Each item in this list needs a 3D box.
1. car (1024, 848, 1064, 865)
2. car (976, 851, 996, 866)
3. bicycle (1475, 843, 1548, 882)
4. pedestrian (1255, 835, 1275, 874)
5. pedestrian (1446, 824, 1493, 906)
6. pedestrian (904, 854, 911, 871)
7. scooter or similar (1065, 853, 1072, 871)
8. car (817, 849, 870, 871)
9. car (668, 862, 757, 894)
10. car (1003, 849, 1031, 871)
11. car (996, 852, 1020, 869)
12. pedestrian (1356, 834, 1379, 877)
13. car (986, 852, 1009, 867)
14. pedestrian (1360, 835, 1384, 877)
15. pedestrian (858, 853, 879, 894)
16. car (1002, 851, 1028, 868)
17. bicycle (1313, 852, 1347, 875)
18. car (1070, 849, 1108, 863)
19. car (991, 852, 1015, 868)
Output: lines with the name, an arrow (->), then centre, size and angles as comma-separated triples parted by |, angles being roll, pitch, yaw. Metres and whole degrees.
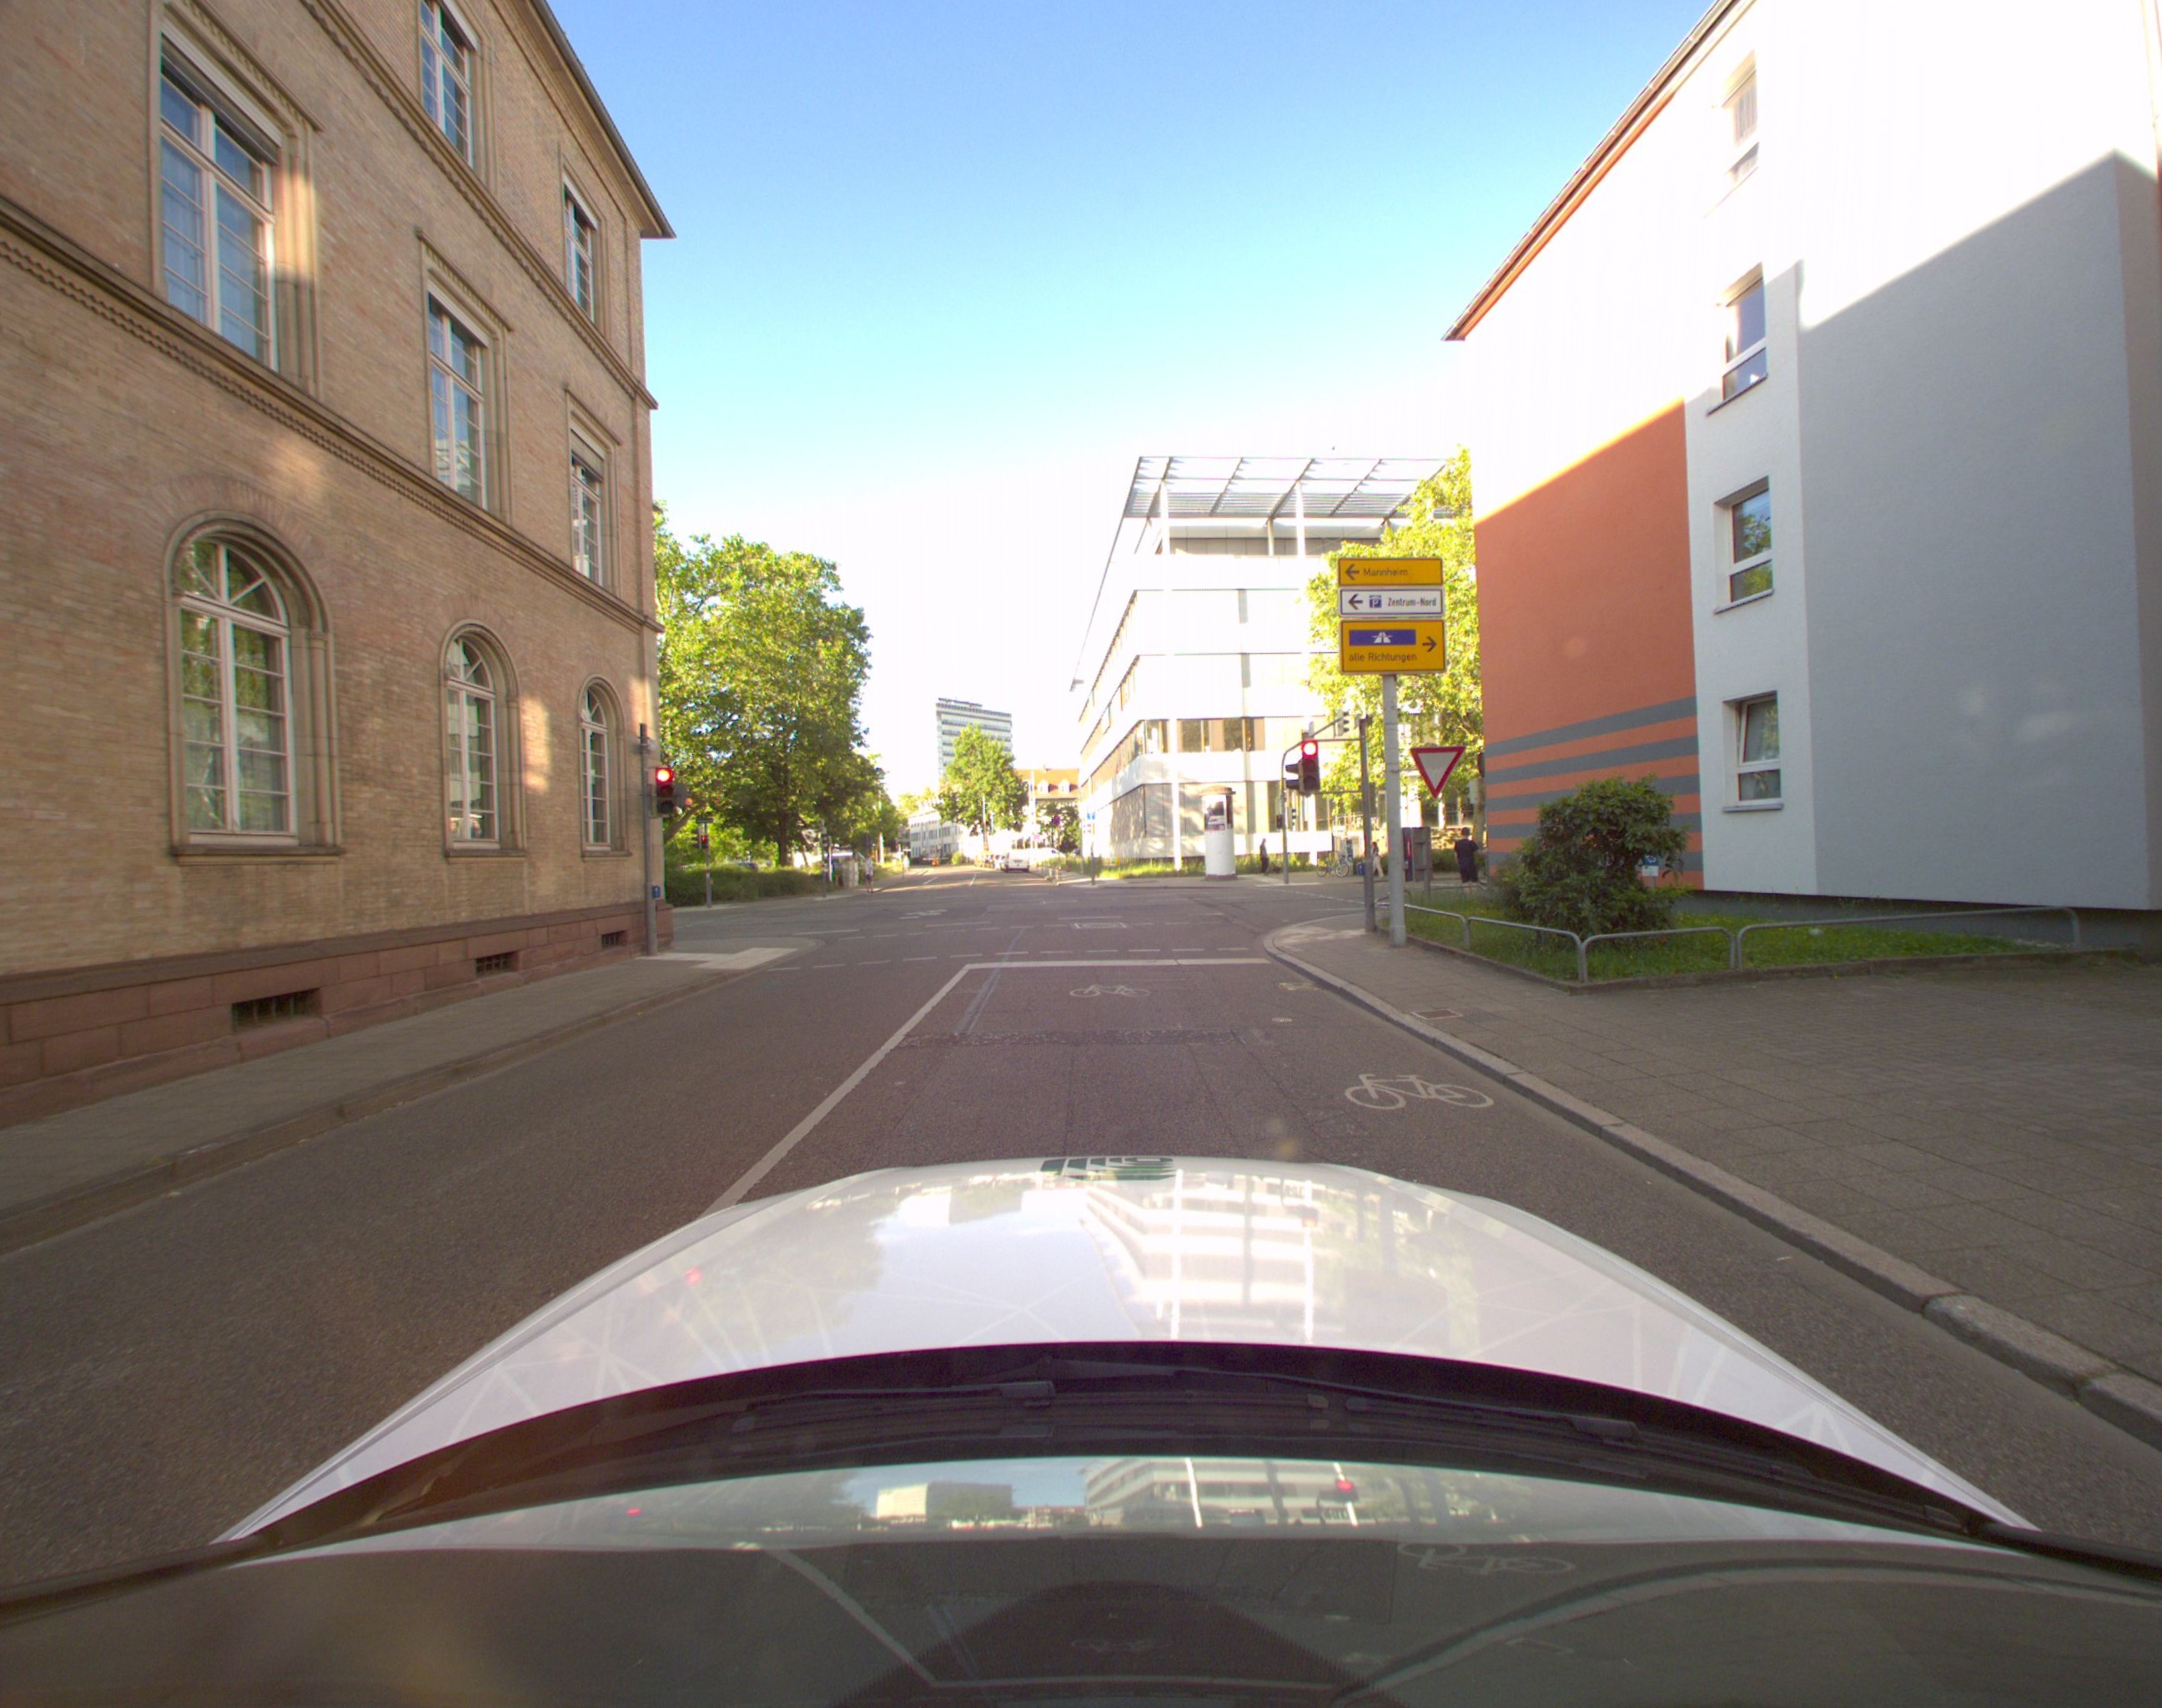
car -> -4.682, 0.281, 103.233 | 4.802, 2.159, 1.989 | 0, -1, -16
car -> -11.300, 0.546, 96.287 | 1.995, 1.725, 4.633 | 0, -1, -11
bicycle -> 13.794, 0.271, 26.134 | 1.953, 1.152, 0.593 | -2, 0, 7
pedestrian -> 8.712, 0.044, 38.511 | 0.907, 1.815, 0.765 | -1, -1, 14
pedestrian -> 8.847, 0.241, 18.554 | 0.723, 1.810, 0.693 | 0, -1, -39
pedestrian -> -16.850, 0.811, 79.057 | 0.700, 1.587, 0.633 | 0, -1, -14
scooter or similar -> -0.911, 0.583, 58.459 | 0.436, 1.256, 1.418 | -2, 0, -2
car -> -22.023, 0.537, 75.751 | 4.441, 2.014, 1.995 | 0, -1, -8
car -> -17.081, 1.095, 37.885 | 3.407, 1.457, 1.646 | 0, -1, -8
car -> -5.171, 0.471, 65.101 | 1.992, 1.725, 4.640 | 0, -1, -7
car -> -6.919, 0.614, 77.136 | 1.993, 1.499, 4.638 | 0, -1, -8
pedestrian -> 12.105, 0.049, 34.419 | 0.761, 1.795, 0.648 | 0, -1, 4
car -> -8.883, 0.597, 86.363 | 1.994, 1.499, 4.635 | 0, -1, -10
pedestrian -> 12.042, 0.101, 33.725 | 0.761, 1.719, 0.648 | 0, -1, 4
pedestrian -> -9.774, 0.901, 37.397 | 0.916, 1.869, 0.738 | 0, -1, -17
car -> -5.846, 0.483, 71.336 | 1.993, 1.499, 4.638 | 0, -1, -8
bicycle -> 11.008, 0.422, 36.011 | 0.381, 1.008, 1.416 | -2, 0, -40
car -> 1.023, 0.263, 104.939 | 4.644, 1.725, 1.990 | 0, -1, -15
car -> -7.841, 0.591, 81.610 | 1.994, 1.499, 4.270 | 0, -1, -11
